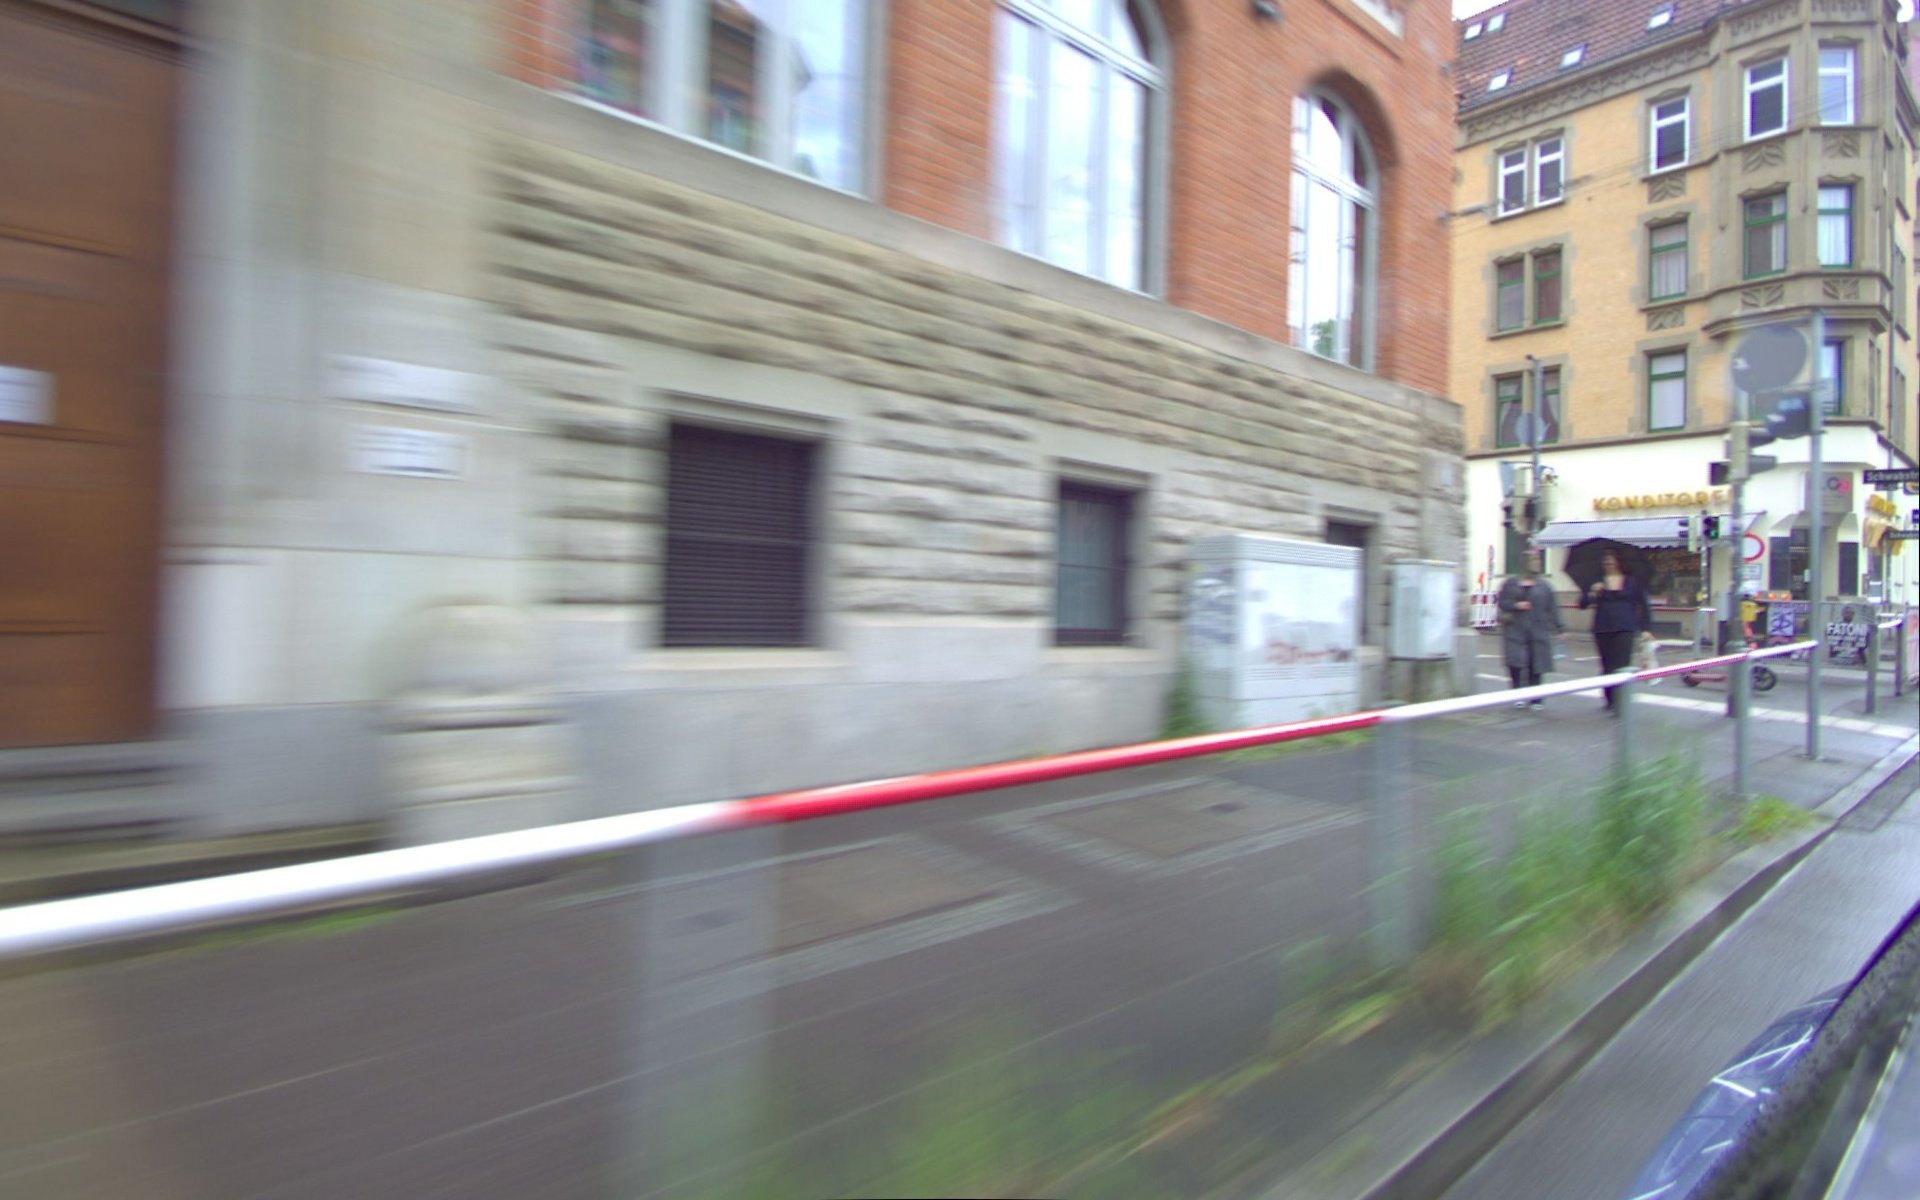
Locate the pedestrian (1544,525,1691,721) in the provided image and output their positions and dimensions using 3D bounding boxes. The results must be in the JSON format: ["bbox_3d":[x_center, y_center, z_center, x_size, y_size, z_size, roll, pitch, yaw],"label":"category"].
[{"bbox_3d":[6.863,0.207,10.564,1.054,1.910,0.960,0,2,-40],"label":"pedestrian"}]

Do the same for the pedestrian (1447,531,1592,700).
[{"bbox_3d":[5.837,0.131,10.566,1.054,1.645,0.960,0,2,-40],"label":"pedestrian"}]

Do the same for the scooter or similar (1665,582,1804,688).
[{"bbox_3d":[10.003,0.427,13.120,0.624,1.266,1.254,1,2,-18],"label":"scooter or similar"}]
